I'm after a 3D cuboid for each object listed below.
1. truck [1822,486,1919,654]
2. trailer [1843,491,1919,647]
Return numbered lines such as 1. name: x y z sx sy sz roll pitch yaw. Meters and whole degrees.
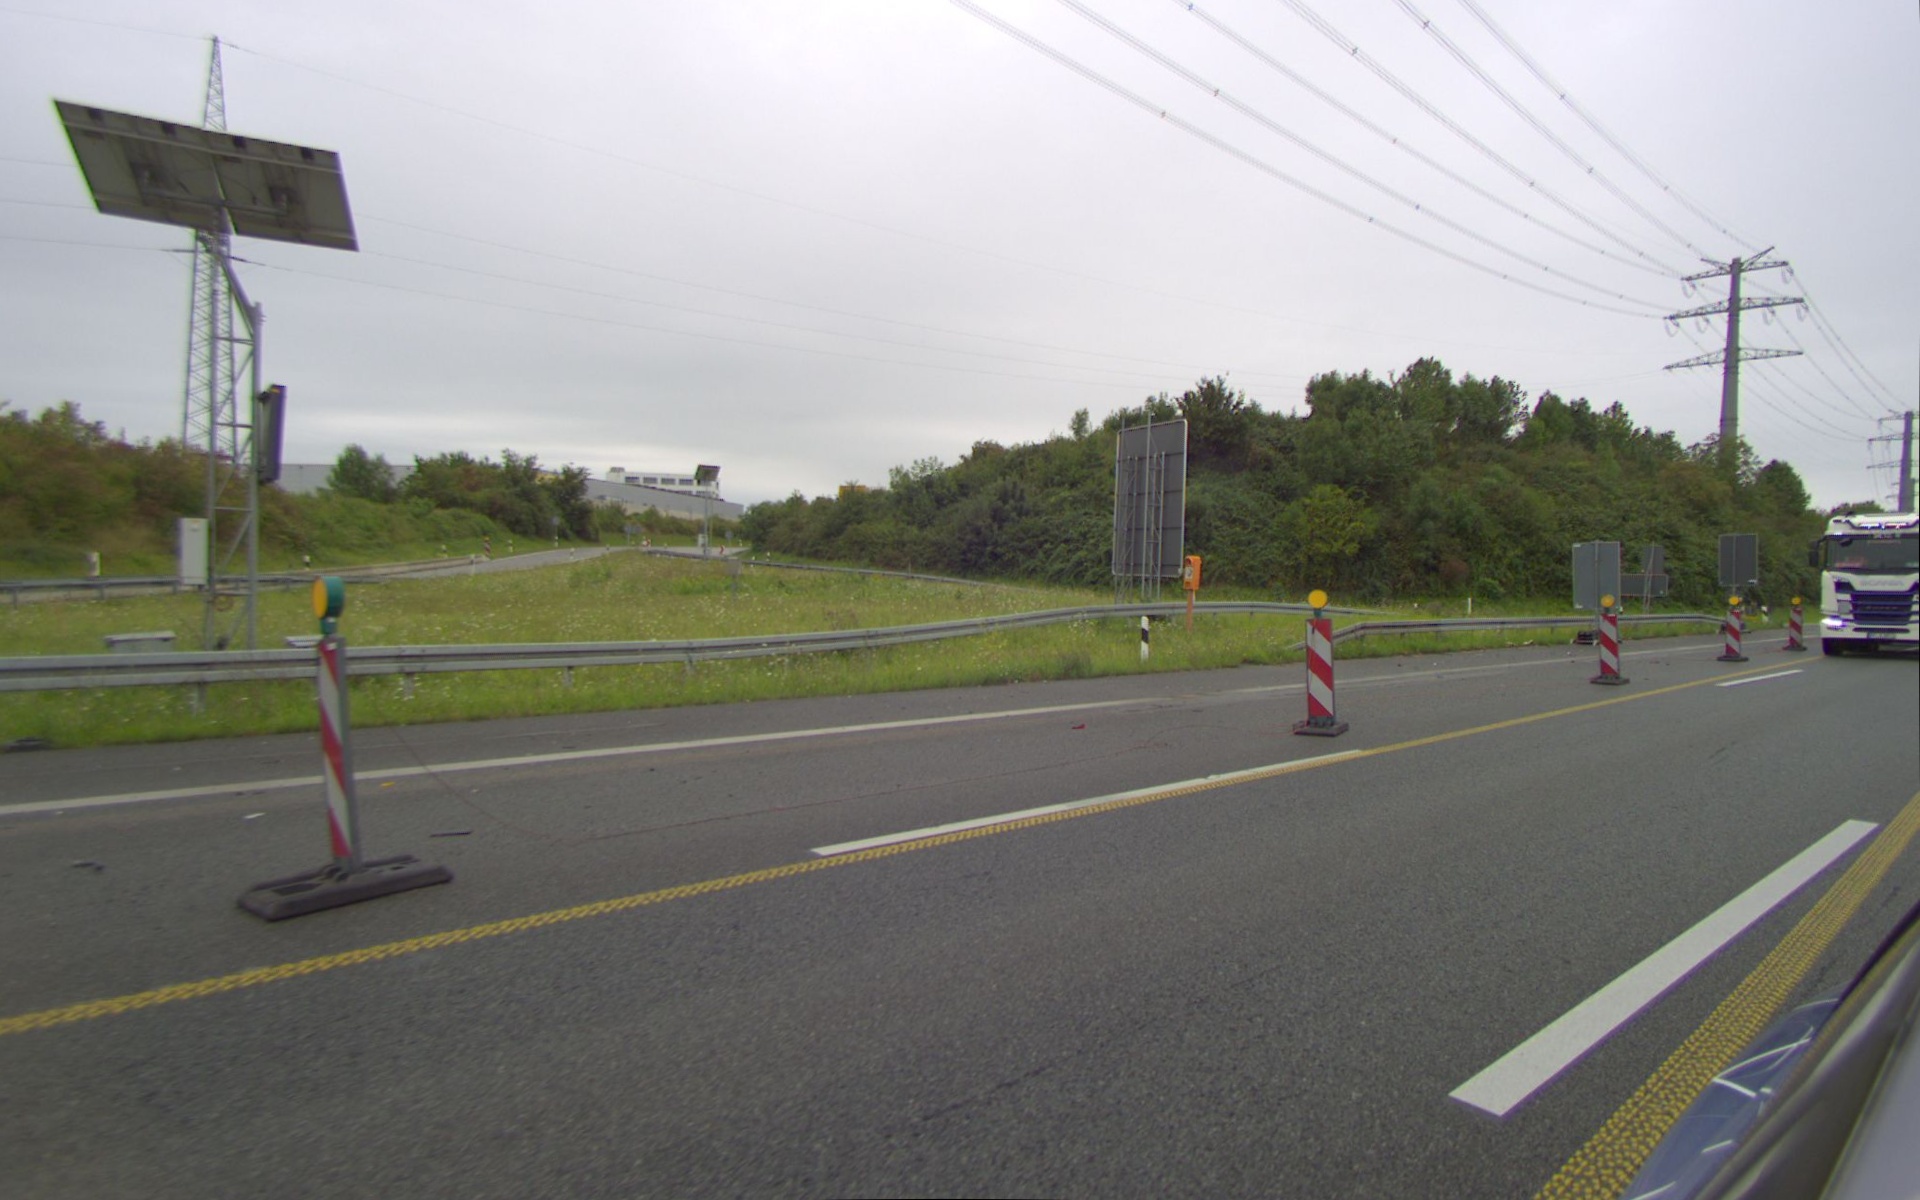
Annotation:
1. truck: 24.455 -0.759 26.053 5.305 3.984 2.745 -1 1 -42
2. trailer: 29.950 -0.915 30.900 13.906 4.053 2.806 -1 1 -42
